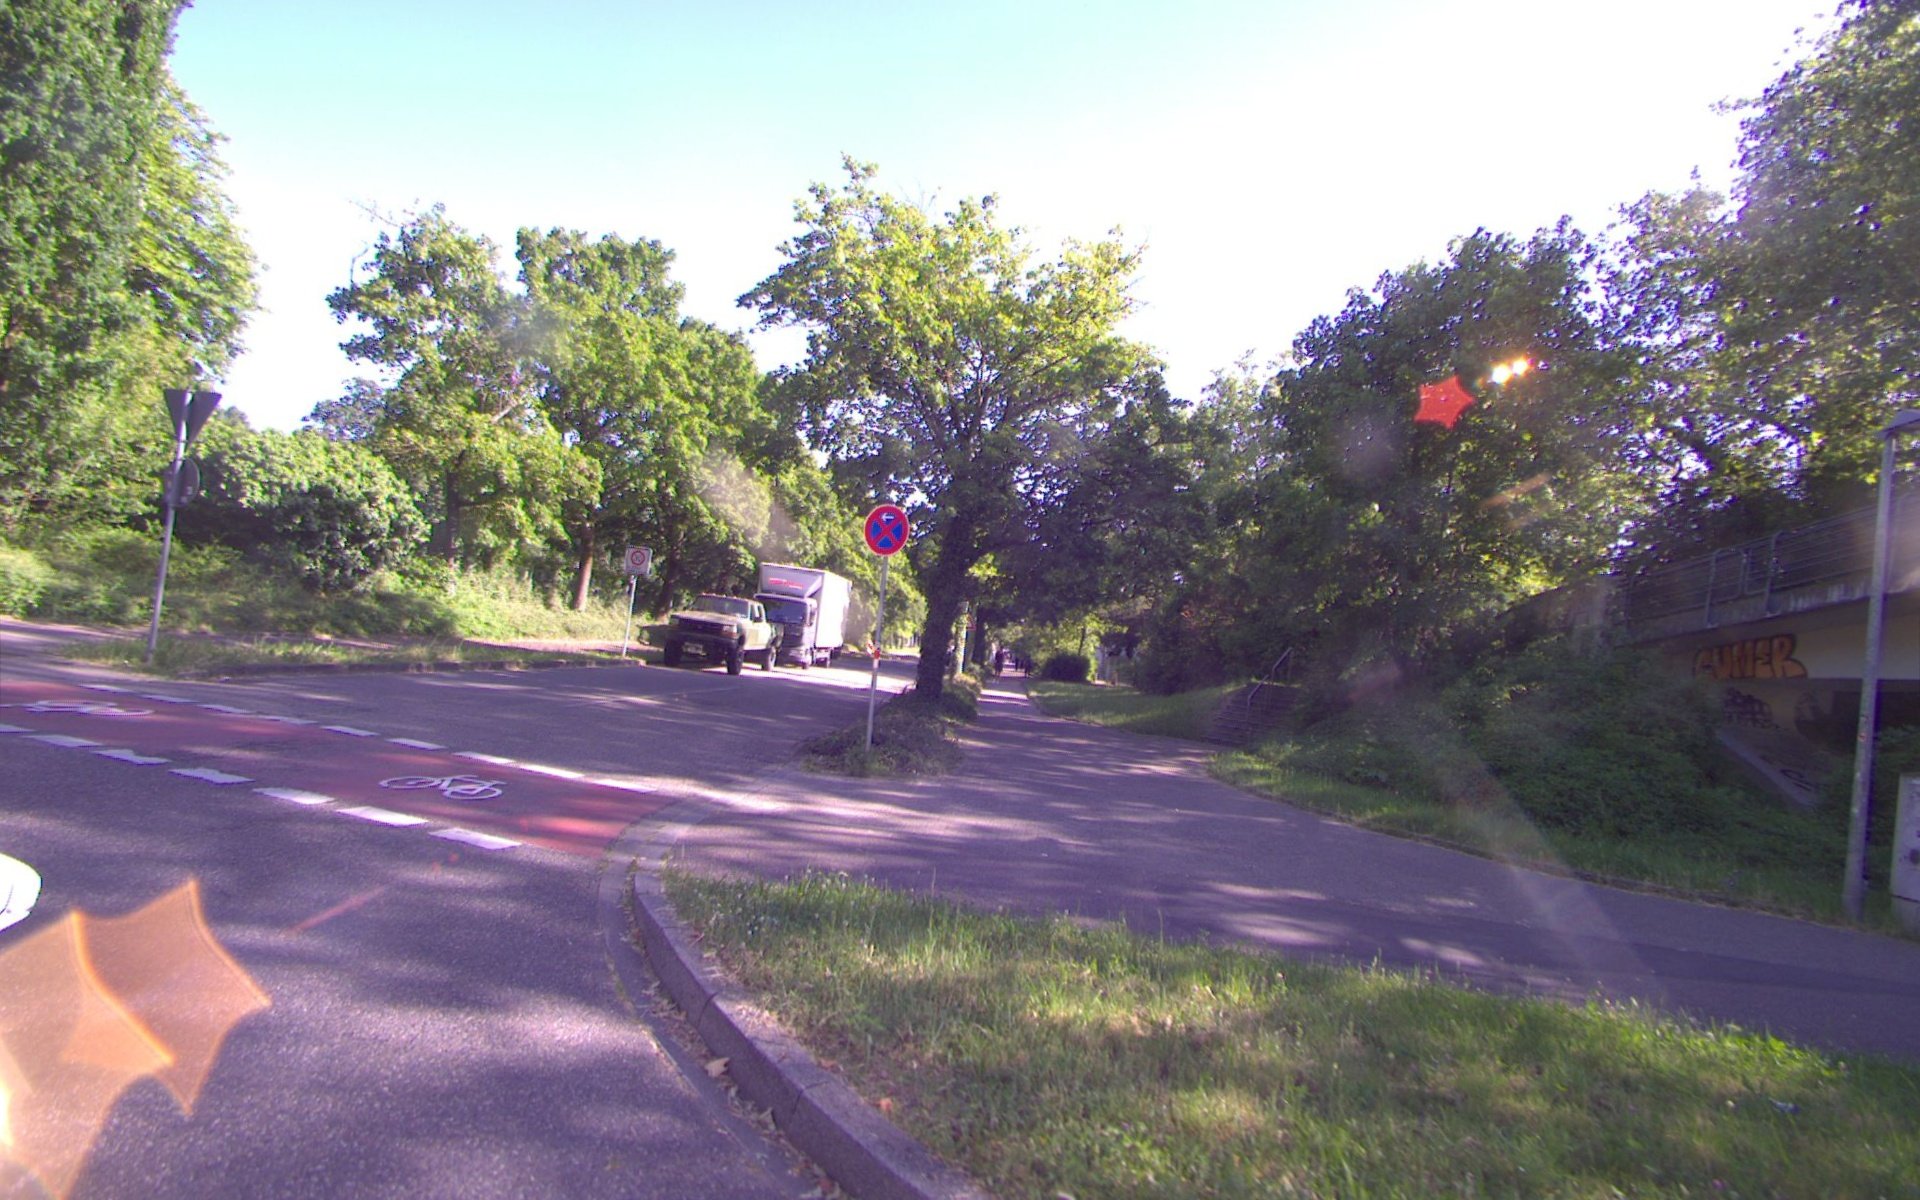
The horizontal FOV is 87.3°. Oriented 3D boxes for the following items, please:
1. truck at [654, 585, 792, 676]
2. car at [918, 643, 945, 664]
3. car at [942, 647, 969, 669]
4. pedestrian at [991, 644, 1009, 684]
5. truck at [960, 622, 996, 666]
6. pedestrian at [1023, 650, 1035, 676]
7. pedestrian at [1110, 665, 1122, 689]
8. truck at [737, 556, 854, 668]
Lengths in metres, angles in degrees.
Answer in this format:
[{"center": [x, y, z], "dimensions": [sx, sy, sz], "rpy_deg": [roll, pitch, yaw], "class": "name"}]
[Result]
[{"center": [-6.744, 0.960, 29.580], "dimensions": [2.080, 2.117, 6.654], "rpy_deg": [7, -3, 2], "class": "truck"}, {"center": [-2.440, 4.642, 87.188], "dimensions": [1.766, 1.527, 4.005], "rpy_deg": [8, -3, 3], "class": "car"}, {"center": [-0.322, 4.668, 81.219], "dimensions": [1.766, 1.527, 4.005], "rpy_deg": [8, -3, 3], "class": "car"}, {"center": [1.937, 3.107, 48.911], "dimensions": [0.638, 1.841, 0.651], "rpy_deg": [8, -1, 3], "class": "pedestrian"}, {"center": [1.947, 4.558, 103.111], "dimensions": [2.843, 3.988, 10.012], "rpy_deg": [8, -2, 3], "class": "truck"}, {"center": [4.715, 4.319, 68.575], "dimensions": [0.638, 1.680, 0.651], "rpy_deg": [8, -1, 4], "class": "pedestrian"}, {"center": [11.691, 5.740, 75.322], "dimensions": [0.638, 1.680, 0.651], "rpy_deg": [8, -1, 4], "class": "pedestrian"}, {"center": [-6.217, 0.627, 39.438], "dimensions": [2.574, 3.668, 7.966], "rpy_deg": [7, -2, 2], "class": "truck"}]
